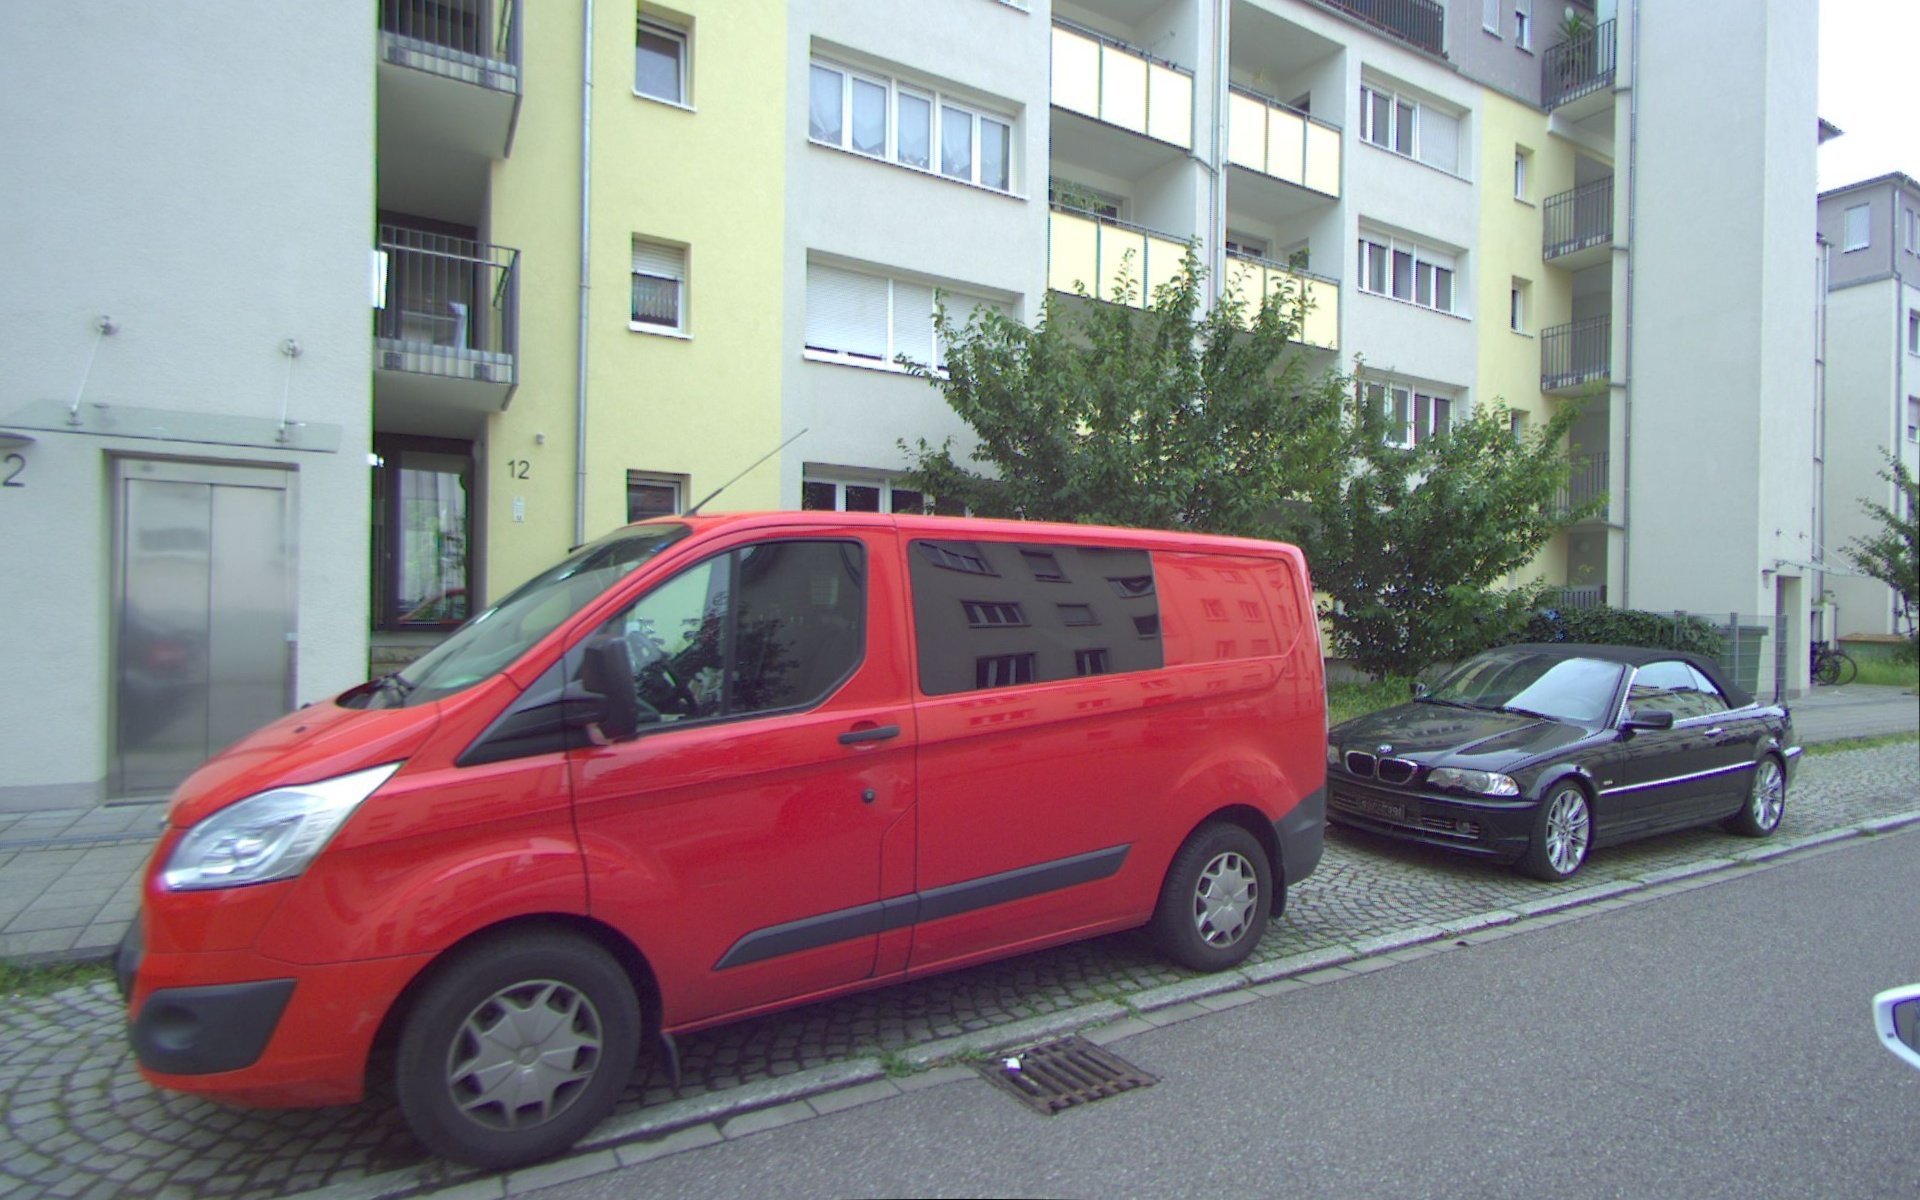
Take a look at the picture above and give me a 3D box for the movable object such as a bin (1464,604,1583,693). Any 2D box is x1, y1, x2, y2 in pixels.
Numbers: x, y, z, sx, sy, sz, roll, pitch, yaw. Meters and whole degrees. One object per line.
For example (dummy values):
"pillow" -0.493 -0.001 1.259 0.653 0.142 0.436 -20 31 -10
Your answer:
"movable object such as a bin" 10.098 0.837 18.028 1.357 1.484 1.345 1 1 -31

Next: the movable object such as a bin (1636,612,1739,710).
"movable object such as a bin" 11.294 0.924 15.599 1.271 1.448 0.800 1 0 -27

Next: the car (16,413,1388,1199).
"car" -0.579 0.590 4.433 4.868 1.980 2.139 1 1 -33

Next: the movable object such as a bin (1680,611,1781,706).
"movable object such as a bin" 12.441 0.922 16.226 1.271 1.448 0.801 1 0 -27

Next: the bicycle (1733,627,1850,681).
"bicycle" 19.289 1.231 23.358 0.616 1.157 2.011 1 -1 -32

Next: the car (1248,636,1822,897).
"car" 4.368 0.987 7.468 4.312 1.341 1.860 1 1 -32

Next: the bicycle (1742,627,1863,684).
"bicycle" 18.801 1.212 22.461 0.618 1.157 2.006 1 -1 -39

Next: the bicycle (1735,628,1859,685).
"bicycle" 18.330 1.213 22.040 0.618 1.157 2.006 1 -1 -39
